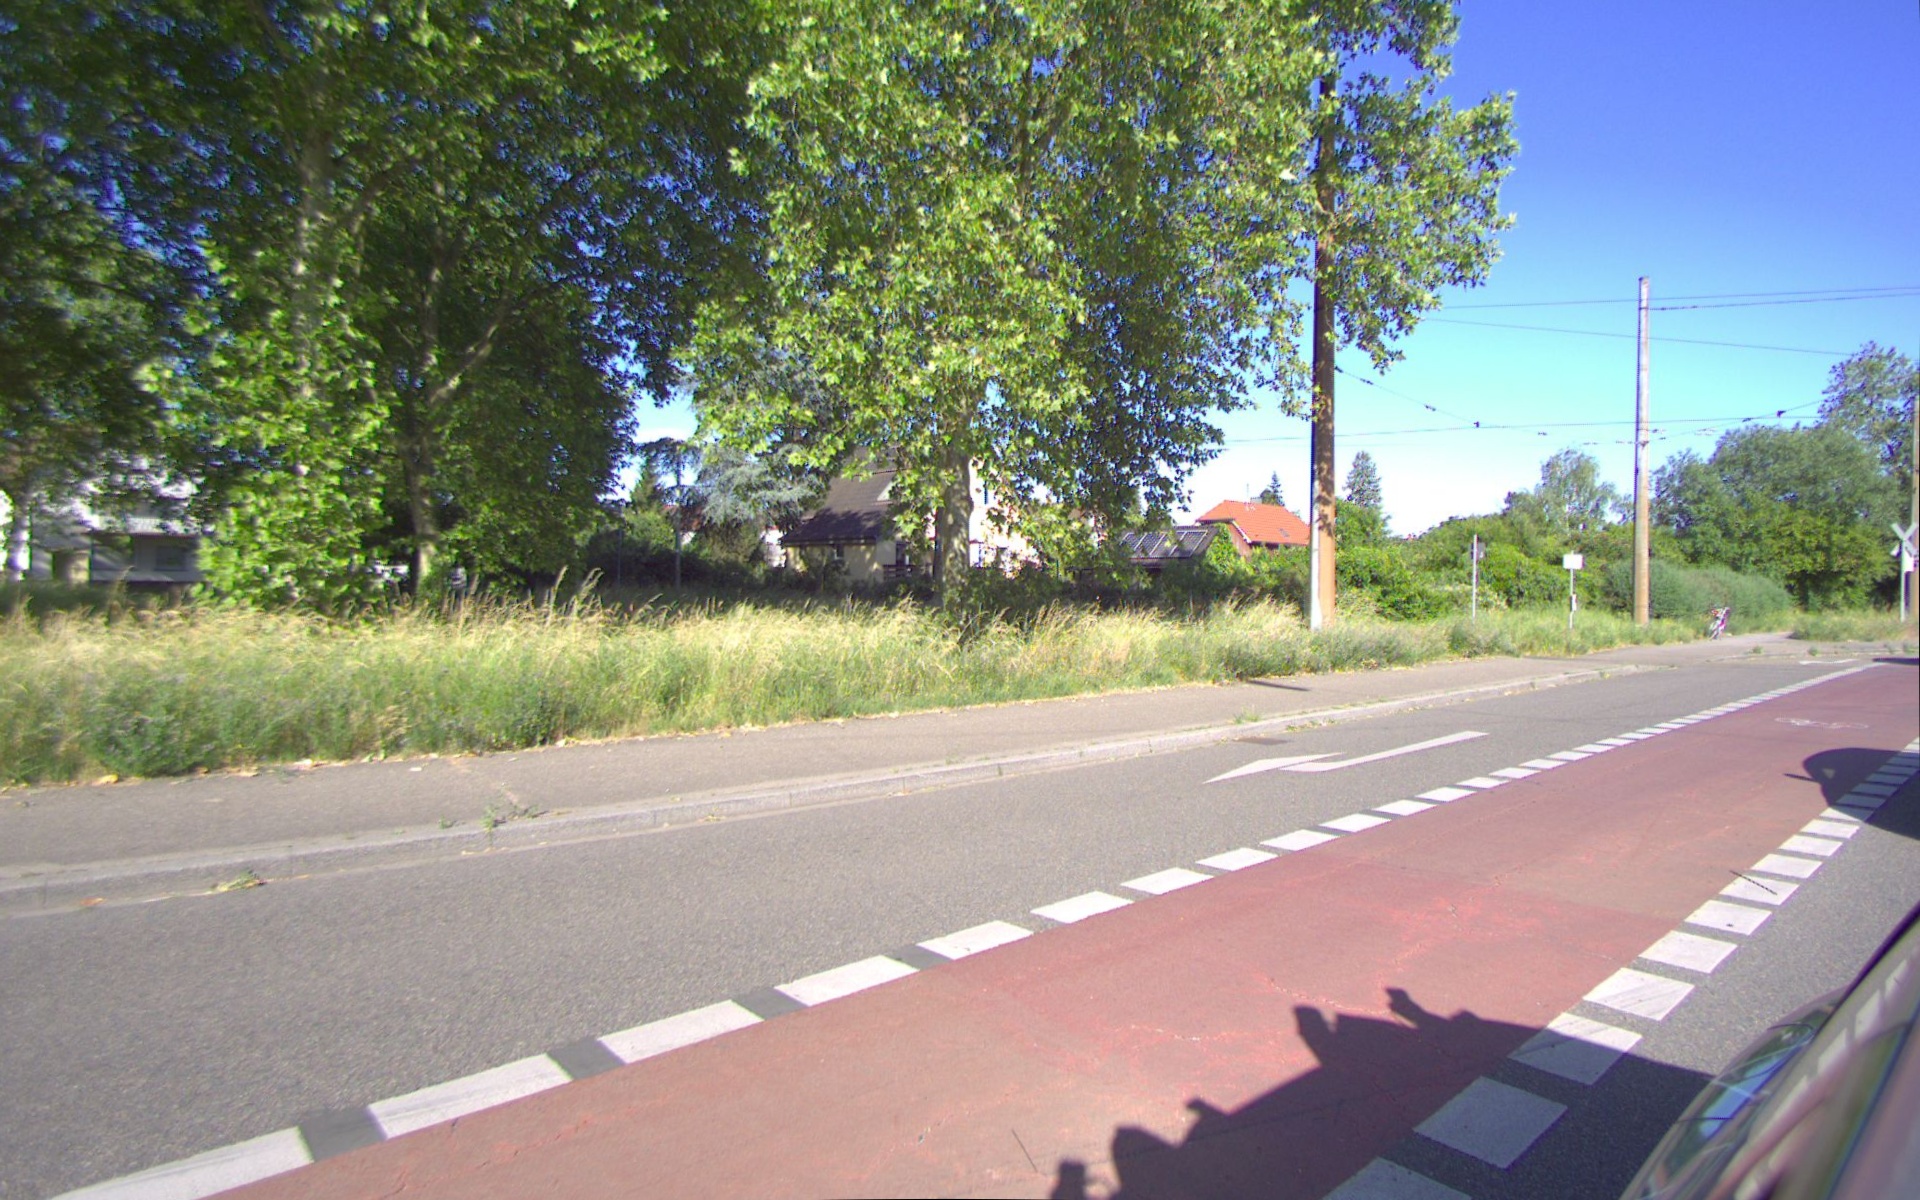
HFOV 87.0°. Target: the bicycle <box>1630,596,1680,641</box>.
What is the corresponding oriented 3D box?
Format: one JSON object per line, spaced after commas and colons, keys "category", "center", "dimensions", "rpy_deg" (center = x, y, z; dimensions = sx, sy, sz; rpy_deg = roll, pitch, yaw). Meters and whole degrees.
{"category": "bicycle", "center": [18.758, 0.471, 27.350], "dimensions": [0.361, 1.149, 2.087], "rpy_deg": [1, 1, 13]}
